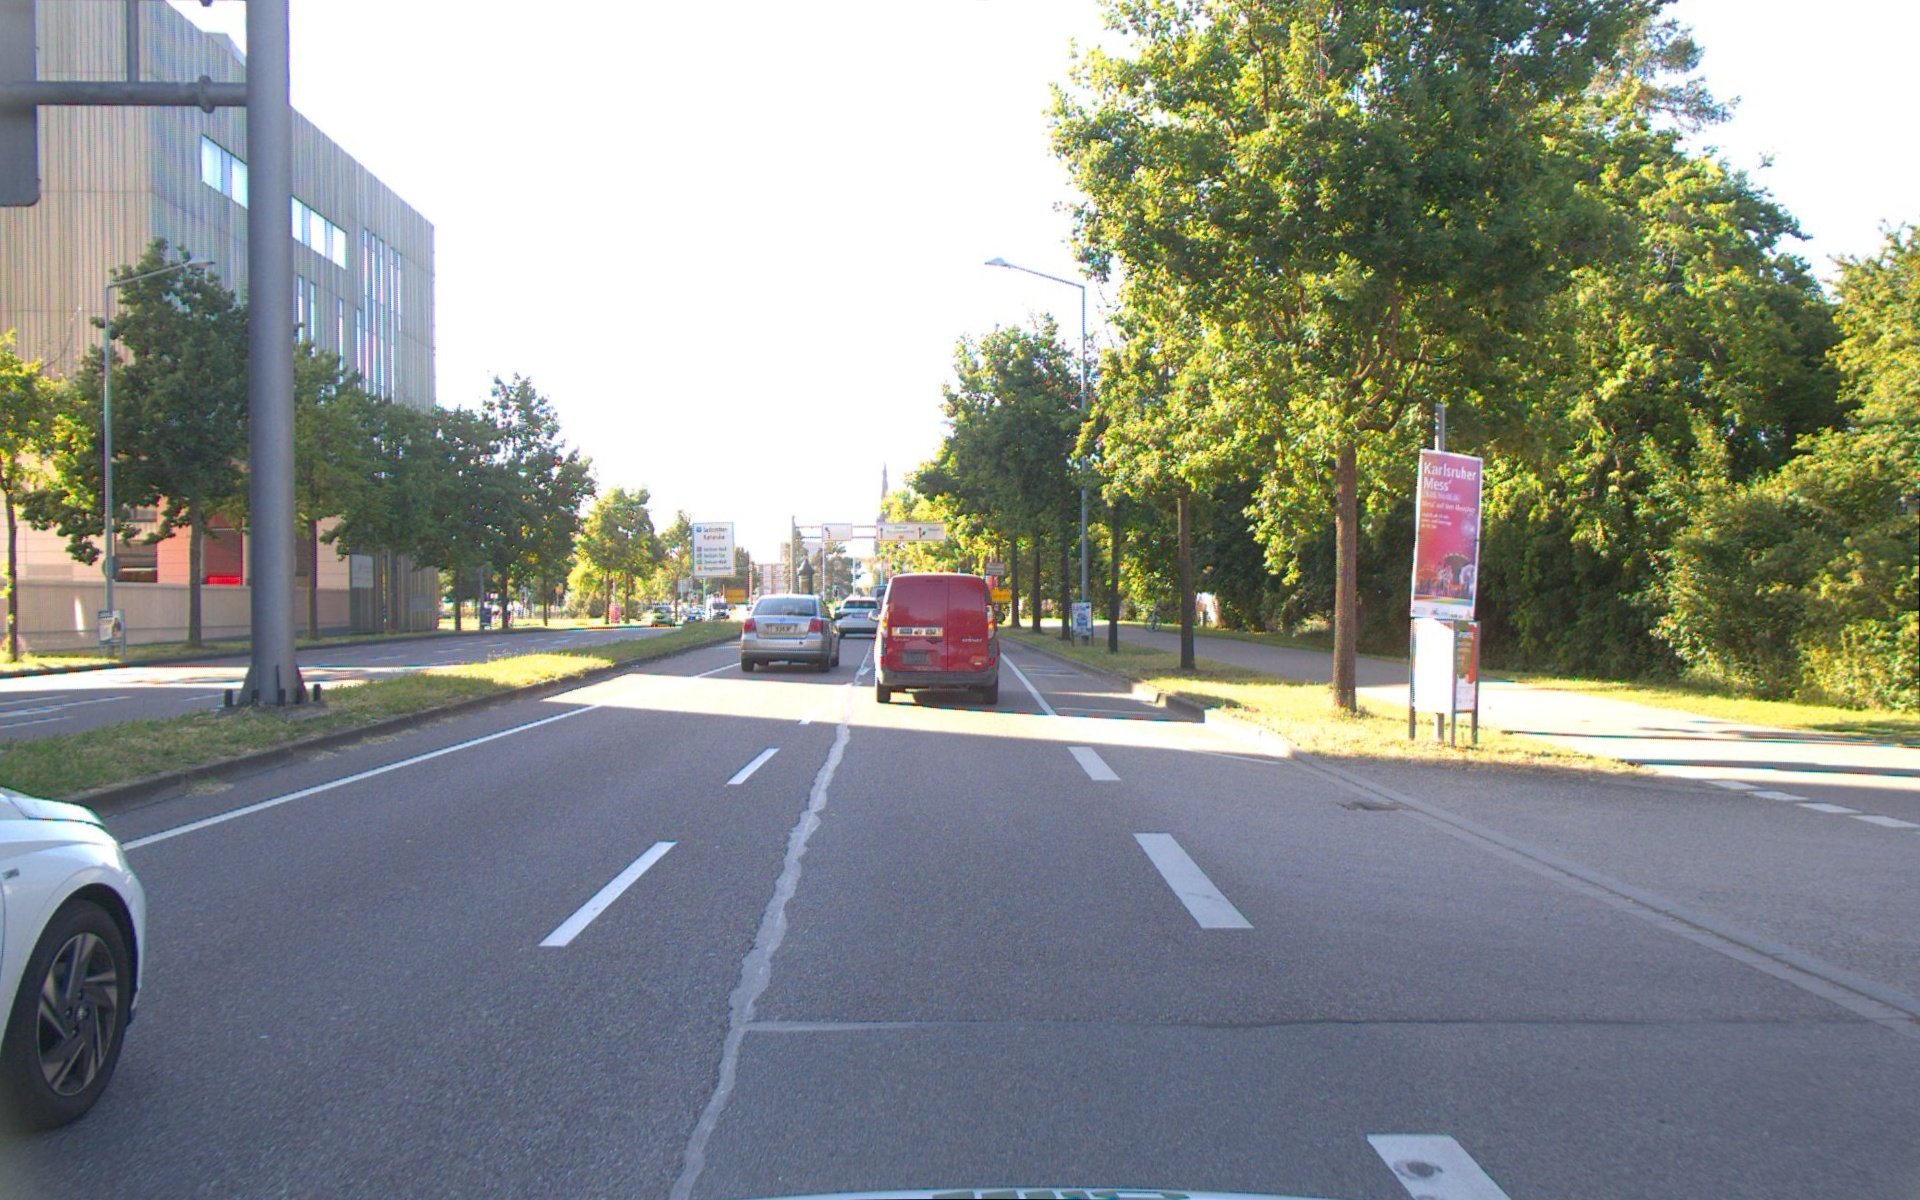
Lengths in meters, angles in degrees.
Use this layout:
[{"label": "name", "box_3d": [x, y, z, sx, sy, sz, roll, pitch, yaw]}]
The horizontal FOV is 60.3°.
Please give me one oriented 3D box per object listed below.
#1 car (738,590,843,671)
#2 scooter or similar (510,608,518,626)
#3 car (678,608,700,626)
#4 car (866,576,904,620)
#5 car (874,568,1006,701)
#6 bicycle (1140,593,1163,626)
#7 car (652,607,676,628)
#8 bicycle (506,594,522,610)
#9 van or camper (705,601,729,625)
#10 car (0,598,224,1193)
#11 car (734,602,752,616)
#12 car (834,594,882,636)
[{"label": "car", "box_3d": [-3.298, 0.560, 32.886, 1.804, 1.482, 4.160, 1, 0, -2]}, {"label": "scooter or similar", "box_3d": [-28.684, 1.074, 106.434, 0.226, 1.169, 1.327, -1, -1, -2]}, {"label": "car", "box_3d": [-24.095, 1.511, 147.192, 1.520, 1.534, 4.023, -1, 0, -4]}, {"label": "car", "box_3d": [-3.282, -0.088, 72.200, 1.628, 1.889, 3.557, -1, 0, -3]}, {"label": "car", "box_3d": [-0.362, 0.465, 24.329, 1.770, 1.790, 4.003, 0, 0, -3]}, {"label": "bicycle", "box_3d": [6.862, 0.342, 59.265, 0.757, 1.151, 1.709, -1, 0, 5]}, {"label": "car", "box_3d": [-21.937, 1.269, 122.630, 1.417, 1.461, 3.457, -1, 0, -4]}, {"label": "bicycle", "box_3d": [-29.303, 0.114, 108.701, 0.559, 1.021, 2.094, -1, 0, -4]}, {"label": "van or camper", "box_3d": [-26.234, 1.381, 178.513, 1.954, 2.410, 5.989, -2, 0, -3]}, {"label": "car", "box_3d": [-3.183, 0.724, 3.200, 1.742, 1.433, 4.074, 0, 0, -1]}, {"label": "car", "box_3d": [-23.877, 1.025, 182.158, 1.655, 1.502, 4.046, -1, 0, -4]}, {"label": "car", "box_3d": [-3.591, 0.511, 58.524, 1.628, 1.422, 3.557, -1, 0, -3]}]
